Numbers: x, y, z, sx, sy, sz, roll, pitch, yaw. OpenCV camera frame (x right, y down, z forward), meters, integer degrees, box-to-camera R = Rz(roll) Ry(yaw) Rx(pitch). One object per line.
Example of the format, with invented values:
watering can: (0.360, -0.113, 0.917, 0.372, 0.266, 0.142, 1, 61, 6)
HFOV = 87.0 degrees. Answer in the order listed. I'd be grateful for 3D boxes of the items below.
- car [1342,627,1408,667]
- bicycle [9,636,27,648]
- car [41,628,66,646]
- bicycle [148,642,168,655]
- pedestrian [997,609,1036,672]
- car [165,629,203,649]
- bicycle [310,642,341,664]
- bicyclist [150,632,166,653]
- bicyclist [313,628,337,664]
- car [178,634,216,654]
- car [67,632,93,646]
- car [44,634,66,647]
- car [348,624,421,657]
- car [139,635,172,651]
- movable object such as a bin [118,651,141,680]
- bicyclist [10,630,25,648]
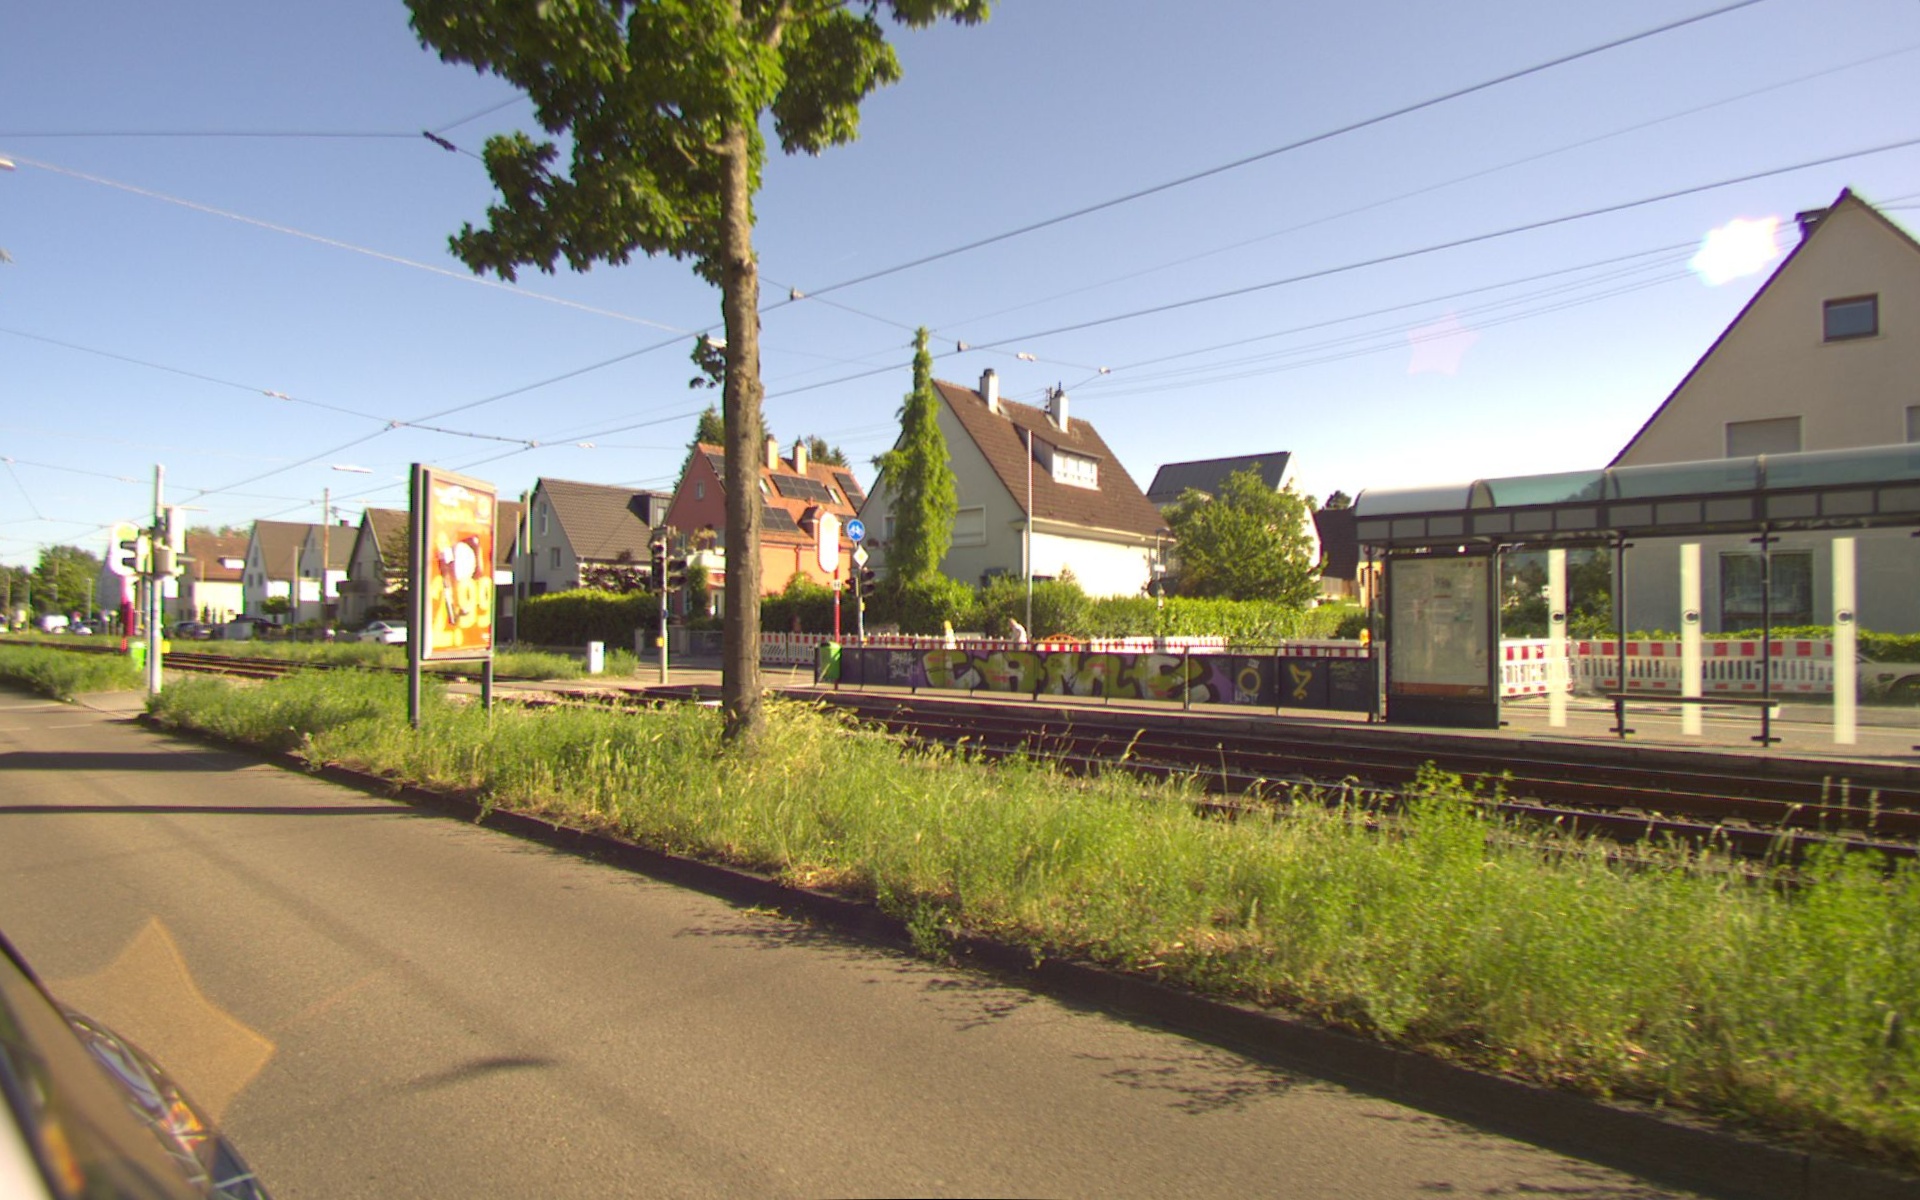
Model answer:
car: (18.670, 2.066, 45.472, 1.846, 1.597, 3.951, -1, -1, 36)
bicycle: (-126.501, 5.590, 135.901, 3.998, 1.506, 1.336, -1, -1, 41)
car: (-115.864, 4.692, 129.333, 4.001, 2.239, 2.104, -1, -1, 44)
bicycle: (-63.467, 3.828, 80.054, 2.308, 0.958, 0.843, -1, -1, 41)
pedestrian: (1.449, 1.037, 25.842, 0.787, 1.546, 0.809, -3, -3, 17)
car: (-64.119, 3.187, 83.635, 4.010, 1.609, 1.779, -1, -1, 41)
bicycle: (-34.597, 2.888, 55.175, 2.308, 1.143, 0.843, -1, -1, 41)
bicyclist: (-63.431, 3.350, 80.035, 0.837, 1.687, 0.842, -1, -1, 42)
bicyclist: (-34.573, 2.486, 55.117, 1.071, 1.901, 0.843, -1, -1, 41)
car: (-60.976, 3.520, 80.907, 3.754, 1.501, 1.716, -1, -1, 41)
car: (-101.790, 4.529, 117.071, 3.998, 1.517, 1.768, -1, -1, 42)
car: (-112.406, 5.043, 125.713, 4.001, 1.517, 1.767, -1, -1, 44)
car: (-31.381, 2.153, 55.143, 4.837, 1.691, 1.973, -1, -1, 41)
car: (-73.225, 3.875, 92.108, 3.822, 1.392, 1.733, -1, -1, 41)
movable object such as a bin: (-18.167, 1.427, 22.143, 0.381, 0.587, 0.380, 0, -1, -40)
bicyclist: (-126.400, 5.221, 135.768, 1.622, 2.250, 1.293, -1, -1, 41)
